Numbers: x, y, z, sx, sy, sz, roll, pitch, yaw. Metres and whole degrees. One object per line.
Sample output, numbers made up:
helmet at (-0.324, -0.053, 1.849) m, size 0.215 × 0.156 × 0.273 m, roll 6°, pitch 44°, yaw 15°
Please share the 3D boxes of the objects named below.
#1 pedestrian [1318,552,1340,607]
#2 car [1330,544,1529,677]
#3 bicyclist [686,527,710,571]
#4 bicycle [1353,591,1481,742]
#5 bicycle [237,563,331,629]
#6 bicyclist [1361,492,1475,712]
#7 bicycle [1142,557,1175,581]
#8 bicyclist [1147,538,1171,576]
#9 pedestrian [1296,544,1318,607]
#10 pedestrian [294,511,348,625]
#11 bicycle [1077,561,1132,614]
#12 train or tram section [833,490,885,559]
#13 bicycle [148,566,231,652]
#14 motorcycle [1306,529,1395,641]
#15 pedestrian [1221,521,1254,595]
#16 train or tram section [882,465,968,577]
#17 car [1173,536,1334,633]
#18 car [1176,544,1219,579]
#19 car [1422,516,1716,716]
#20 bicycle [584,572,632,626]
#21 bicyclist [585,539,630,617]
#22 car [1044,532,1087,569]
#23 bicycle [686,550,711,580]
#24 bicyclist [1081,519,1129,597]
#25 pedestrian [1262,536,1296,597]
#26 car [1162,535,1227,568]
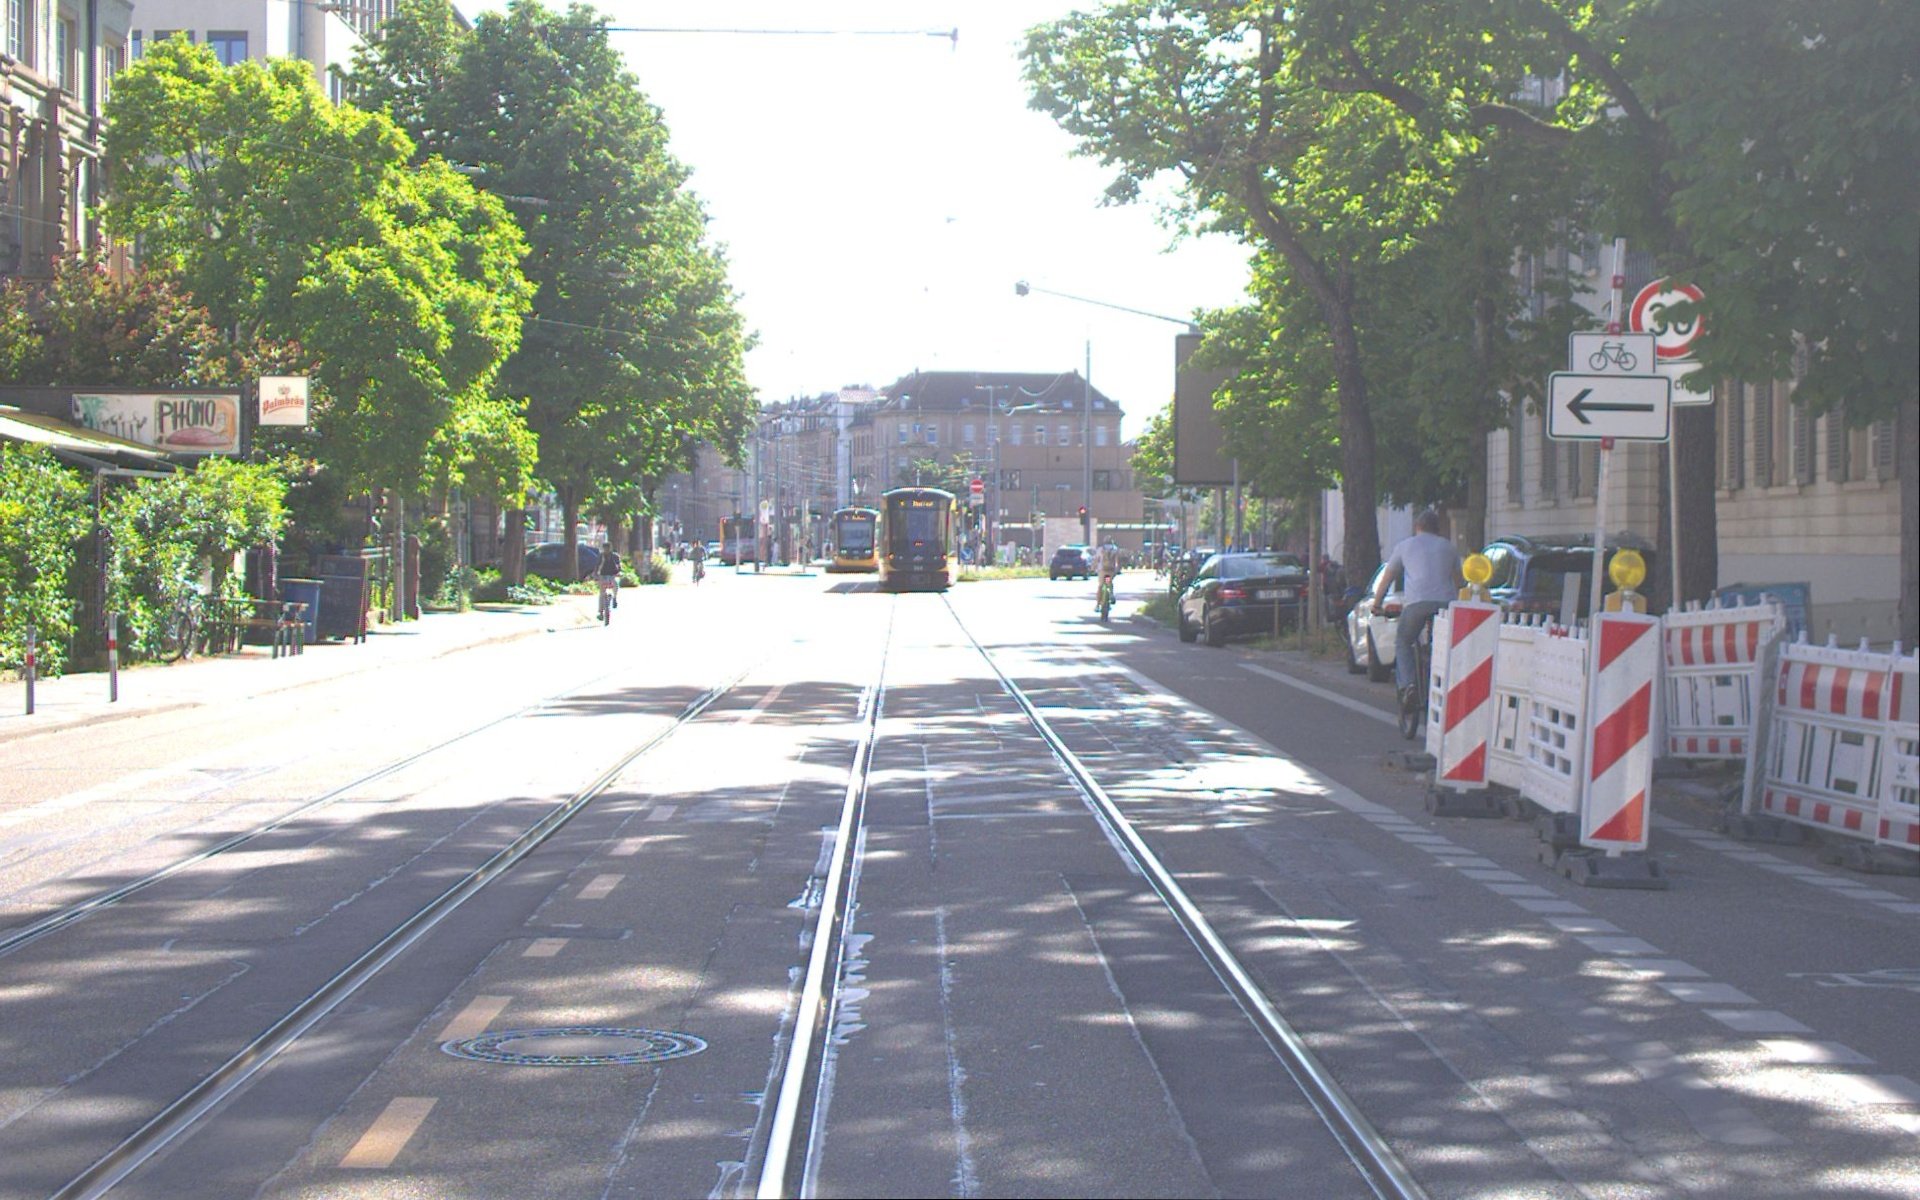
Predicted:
pedestrian at (9.413, -0.529, 87.679) m, size 0.518 × 1.399 × 0.764 m, roll 0°, pitch 1°, yaw 2°
car at (5.328, 0.080, 39.449) m, size 1.724 × 1.377 × 4.356 m, roll -1°, pitch 1°, yaw 1°
bicyclist at (-10.089, -1.968, 132.396) m, size 0.687 × 1.639 × 1.237 m, roll -1°, pitch 1°, yaw 3°
bicycle at (3.592, 0.502, 27.156) m, size 0.738 × 1.090 × 2.111 m, roll 2°, pitch 1°, yaw 1°
bicycle at (-10.932, -0.076, 55.662) m, size 0.637 × 1.042 × 2.020 m, roll 1°, pitch 1°, yaw 16°
bicyclist at (3.608, 0.006, 27.136) m, size 0.738 × 1.680 × 0.972 m, roll 2°, pitch 1°, yaw 1°
bicycle at (9.175, -1.435, 159.111) m, size 0.706 × 1.051 × 2.311 m, roll 3°, pitch 2°, yaw 24°
bicyclist at (9.205, -1.998, 159.102) m, size 0.706 × 1.694 × 0.986 m, roll 3°, pitch 2°, yaw 24°
pedestrian at (8.858, -0.622, 87.701) m, size 0.518 × 1.595 × 0.764 m, roll 0°, pitch 1°, yaw 2°
pedestrian at (-10.317, -0.521, 55.530) m, size 0.576 × 1.825 × 0.689 m, roll 1°, pitch 1°, yaw 18°
bicycle at (3.152, -0.274, 75.079) m, size 0.705 × 1.101 × 1.715 m, roll 3°, pitch 2°, yaw 19°
train or tram section at (-5.537, -4.187, 188.838) m, size 2.742 × 3.639 × 13.787 m, roll 0°, pitch 1°, yaw -2°
bicycle at (-10.053, 0.104, 44.900) m, size 0.638 × 1.055 × 1.743 m, roll 3°, pitch 1°, yaw 0°
motorcycle at (5.386, -0.228, 47.600) m, size 0.913 × 1.483 × 2.679 m, roll -2°, pitch 1°, yaw 1°
pedestrian at (7.034, -1.062, 87.119) m, size 0.683 × 1.843 × 0.955 m, roll -1°, pitch 1°, yaw -2°
train or tram section at (-1.307, -2.774, 119.293) m, size 2.742 × 3.639 × 13.787 m, roll 0°, pitch 1°, yaw -2°
car at (4.695, -0.287, 55.612) m, size 1.821 × 1.453 × 4.819 m, roll -1°, pitch 1°, yaw -4°
car at (10.851, -1.755, 157.514) m, size 1.789 × 1.506 × 3.713 m, roll 2°, pitch 1°, yaw 2°
car at (5.445, 0.087, 31.277) m, size 1.810 × 1.620 × 4.584 m, roll -2°, pitch 1°, yaw 0°
bicycle at (-7.378, -0.028, 72.206) m, size 0.745 × 1.078 × 1.899 m, roll -3°, pitch 1°, yaw 1°
bicyclist at (-7.399, -0.462, 72.203) m, size 0.745 × 1.594 × 1.118 m, roll -3°, pitch 1°, yaw 1°
car at (4.828, -2.283, 156.444) m, size 1.789 × 1.599 × 3.712 m, roll 2°, pitch 1°, yaw 4°
bicycle at (-10.071, -1.350, 132.424) m, size 0.687 × 1.120 × 1.931 m, roll -1°, pitch 1°, yaw 3°
bicyclist at (3.166, -0.924, 75.029) m, size 0.705 × 1.669 × 1.100 m, roll 2°, pitch 2°, yaw 19°
pedestrian at (8.629, -0.910, 93.039) m, size 0.857 × 1.635 × 0.993 m, roll 0°, pitch -1°, yaw 2°
car at (12.228, -2.524, 178.973) m, size 1.705 × 1.638 × 3.705 m, roll 3°, pitch 2°, yaw 35°
